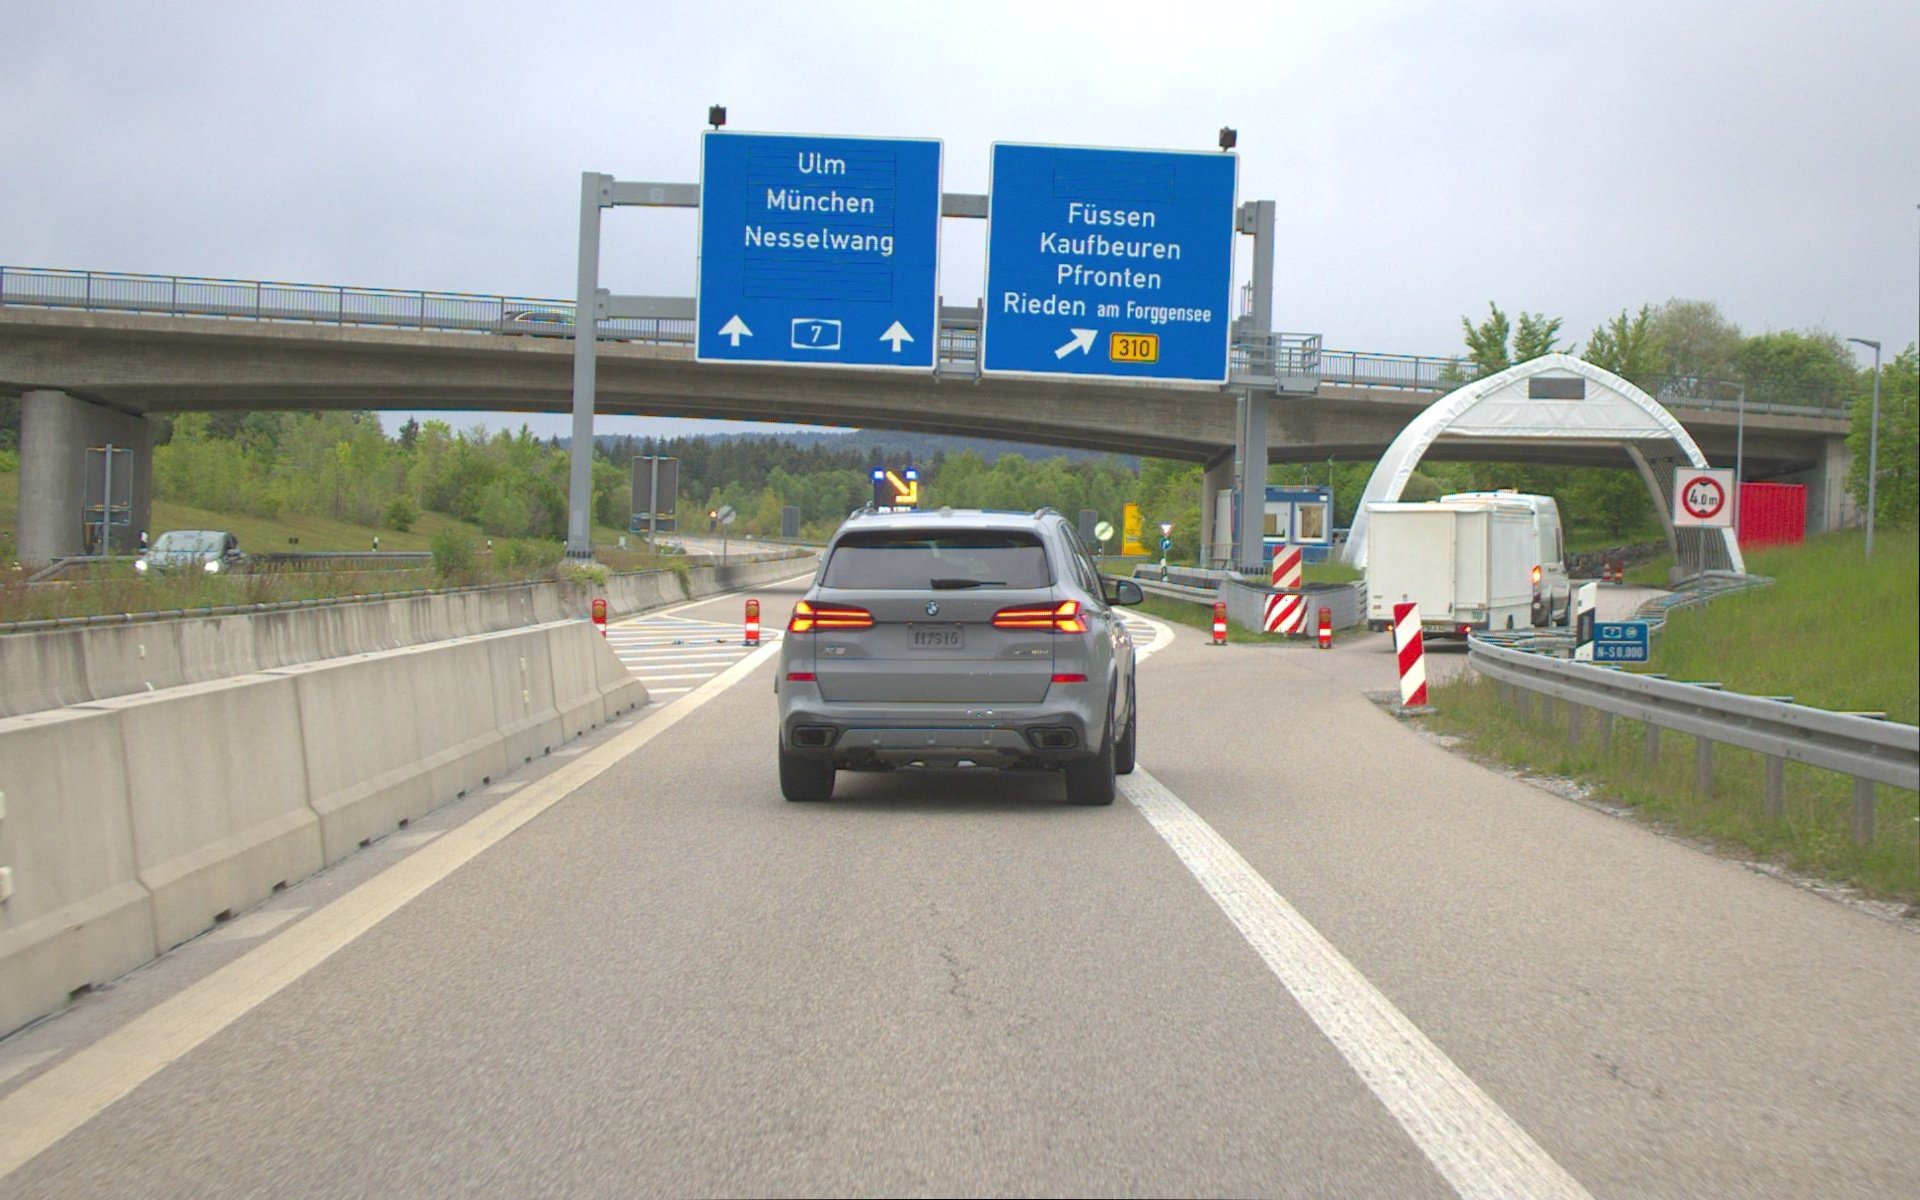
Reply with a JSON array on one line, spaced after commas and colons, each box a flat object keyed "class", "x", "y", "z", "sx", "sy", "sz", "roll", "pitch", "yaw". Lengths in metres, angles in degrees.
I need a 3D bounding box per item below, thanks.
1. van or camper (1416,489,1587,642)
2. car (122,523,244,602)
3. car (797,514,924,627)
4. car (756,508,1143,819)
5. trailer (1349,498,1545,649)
[{"class": "van or camper", "x": 10.292, "y": -0.641, "z": 64.984, "sx": 2.159, "sy": 2.754, "sz": 5.865, "roll": 1, "pitch": 0, "yaw": 19}, {"class": "car", "x": -15.516, "y": -0.765, "z": 68.810, "sx": 1.607, "sy": 1.495, "sz": 3.838, "roll": 1, "pitch": 1, "yaw": -1}, {"class": "car", "x": -1.881, "y": -0.598, "z": 64.859, "sx": 2.286, "sy": 2.007, "sz": 5.050, "roll": 1, "pitch": 2, "yaw": -2}, {"class": "car", "x": 0.040, "y": 0.323, "z": 21.270, "sx": 1.994, "sy": 1.713, "sz": 3.999, "roll": 1, "pitch": 1, "yaw": 5}, {"class": "trailer", "x": 8.435, "y": -0.457, "z": 58.949, "sx": 2.281, "sy": 2.422, "sz": 6.812, "roll": 1, "pitch": 0, "yaw": 17}]
